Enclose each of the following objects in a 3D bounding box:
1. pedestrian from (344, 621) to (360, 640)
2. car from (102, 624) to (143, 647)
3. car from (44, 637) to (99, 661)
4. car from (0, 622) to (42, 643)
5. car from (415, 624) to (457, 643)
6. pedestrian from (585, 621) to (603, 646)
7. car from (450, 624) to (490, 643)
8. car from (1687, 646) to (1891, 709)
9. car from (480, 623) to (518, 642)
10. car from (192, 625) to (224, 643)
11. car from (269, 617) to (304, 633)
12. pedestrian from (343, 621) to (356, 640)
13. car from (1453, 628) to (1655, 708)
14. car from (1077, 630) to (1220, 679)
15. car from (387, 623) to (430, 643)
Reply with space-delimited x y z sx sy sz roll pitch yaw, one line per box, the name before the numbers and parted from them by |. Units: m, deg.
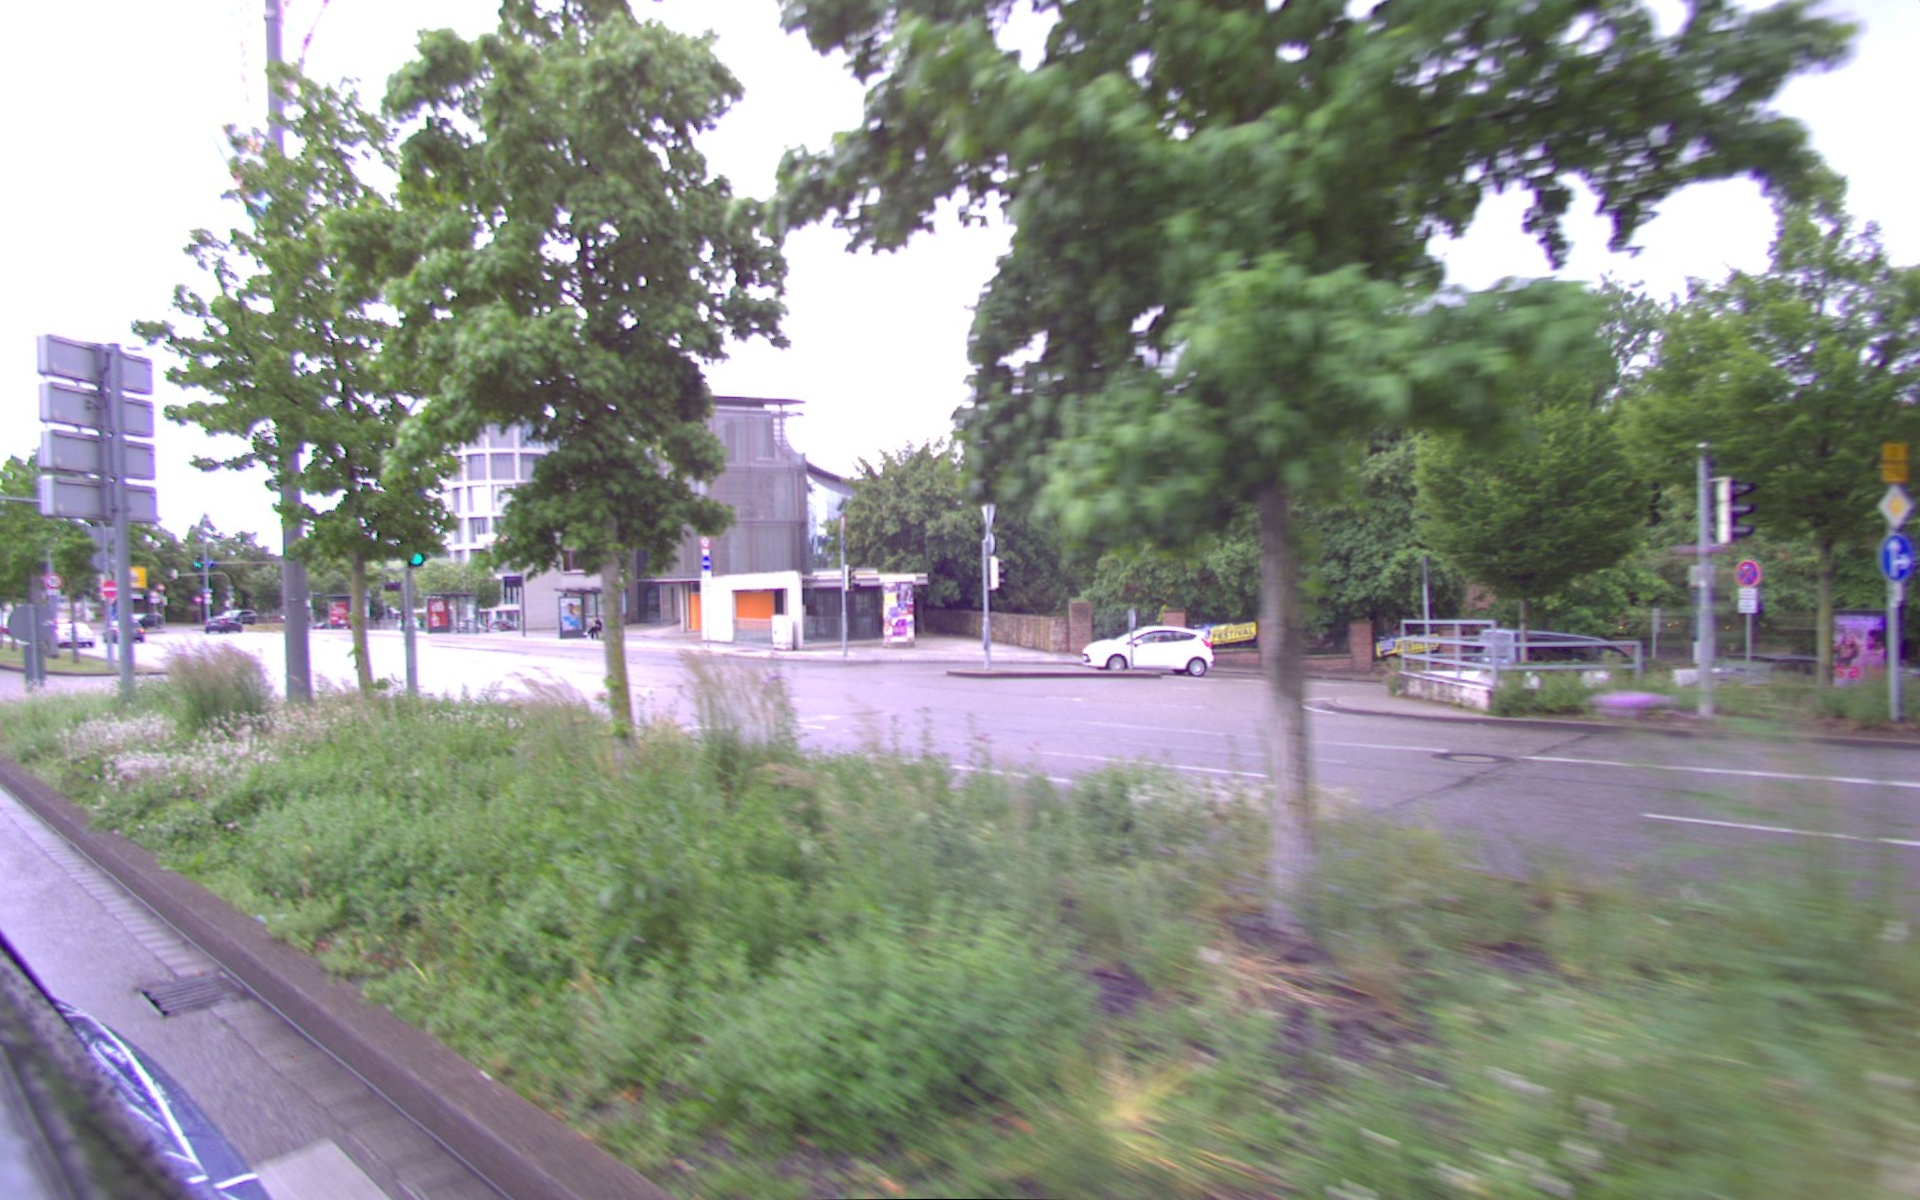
pedestrian | -48.031 2.435 79.927 0.969 1.501 0.735 2 -2 -39
car | -57.046 2.398 68.896 4.453 1.477 1.675 -1 -2 45
car | -53.637 2.927 61.069 4.163 1.363 1.984 -1 -2 42
car | -76.324 2.623 81.264 1.847 1.646 4.165 0 -1 -9
car | -48.100 3.033 92.979 1.849 1.715 4.161 0 -2 -4
pedestrian | -19.337 1.773 53.520 0.659 1.309 0.720 2 -2 -44
car | -45.092 3.044 93.190 1.849 1.715 4.161 0 -1 -4
car | 20.427 1.872 25.001 3.936 1.409 1.638 0 -2 -8
car | -42.620 2.957 93.659 1.849 1.715 4.161 0 -2 -4
car | -65.536 2.940 88.142 3.865 1.524 1.658 -1 -2 45
car | -79.499 2.988 119.523 1.967 1.896 4.009 1 -2 -11
pedestrian | -48.683 2.451 80.665 0.722 1.501 0.735 2 -2 -41
car | 14.123 1.568 24.145 3.936 1.772 1.638 0 -2 -8
car | 5.655 1.628 30.600 3.939 1.409 1.637 0 -2 -5
car | -50.578 3.015 92.915 1.849 1.715 4.161 0 -2 -4
